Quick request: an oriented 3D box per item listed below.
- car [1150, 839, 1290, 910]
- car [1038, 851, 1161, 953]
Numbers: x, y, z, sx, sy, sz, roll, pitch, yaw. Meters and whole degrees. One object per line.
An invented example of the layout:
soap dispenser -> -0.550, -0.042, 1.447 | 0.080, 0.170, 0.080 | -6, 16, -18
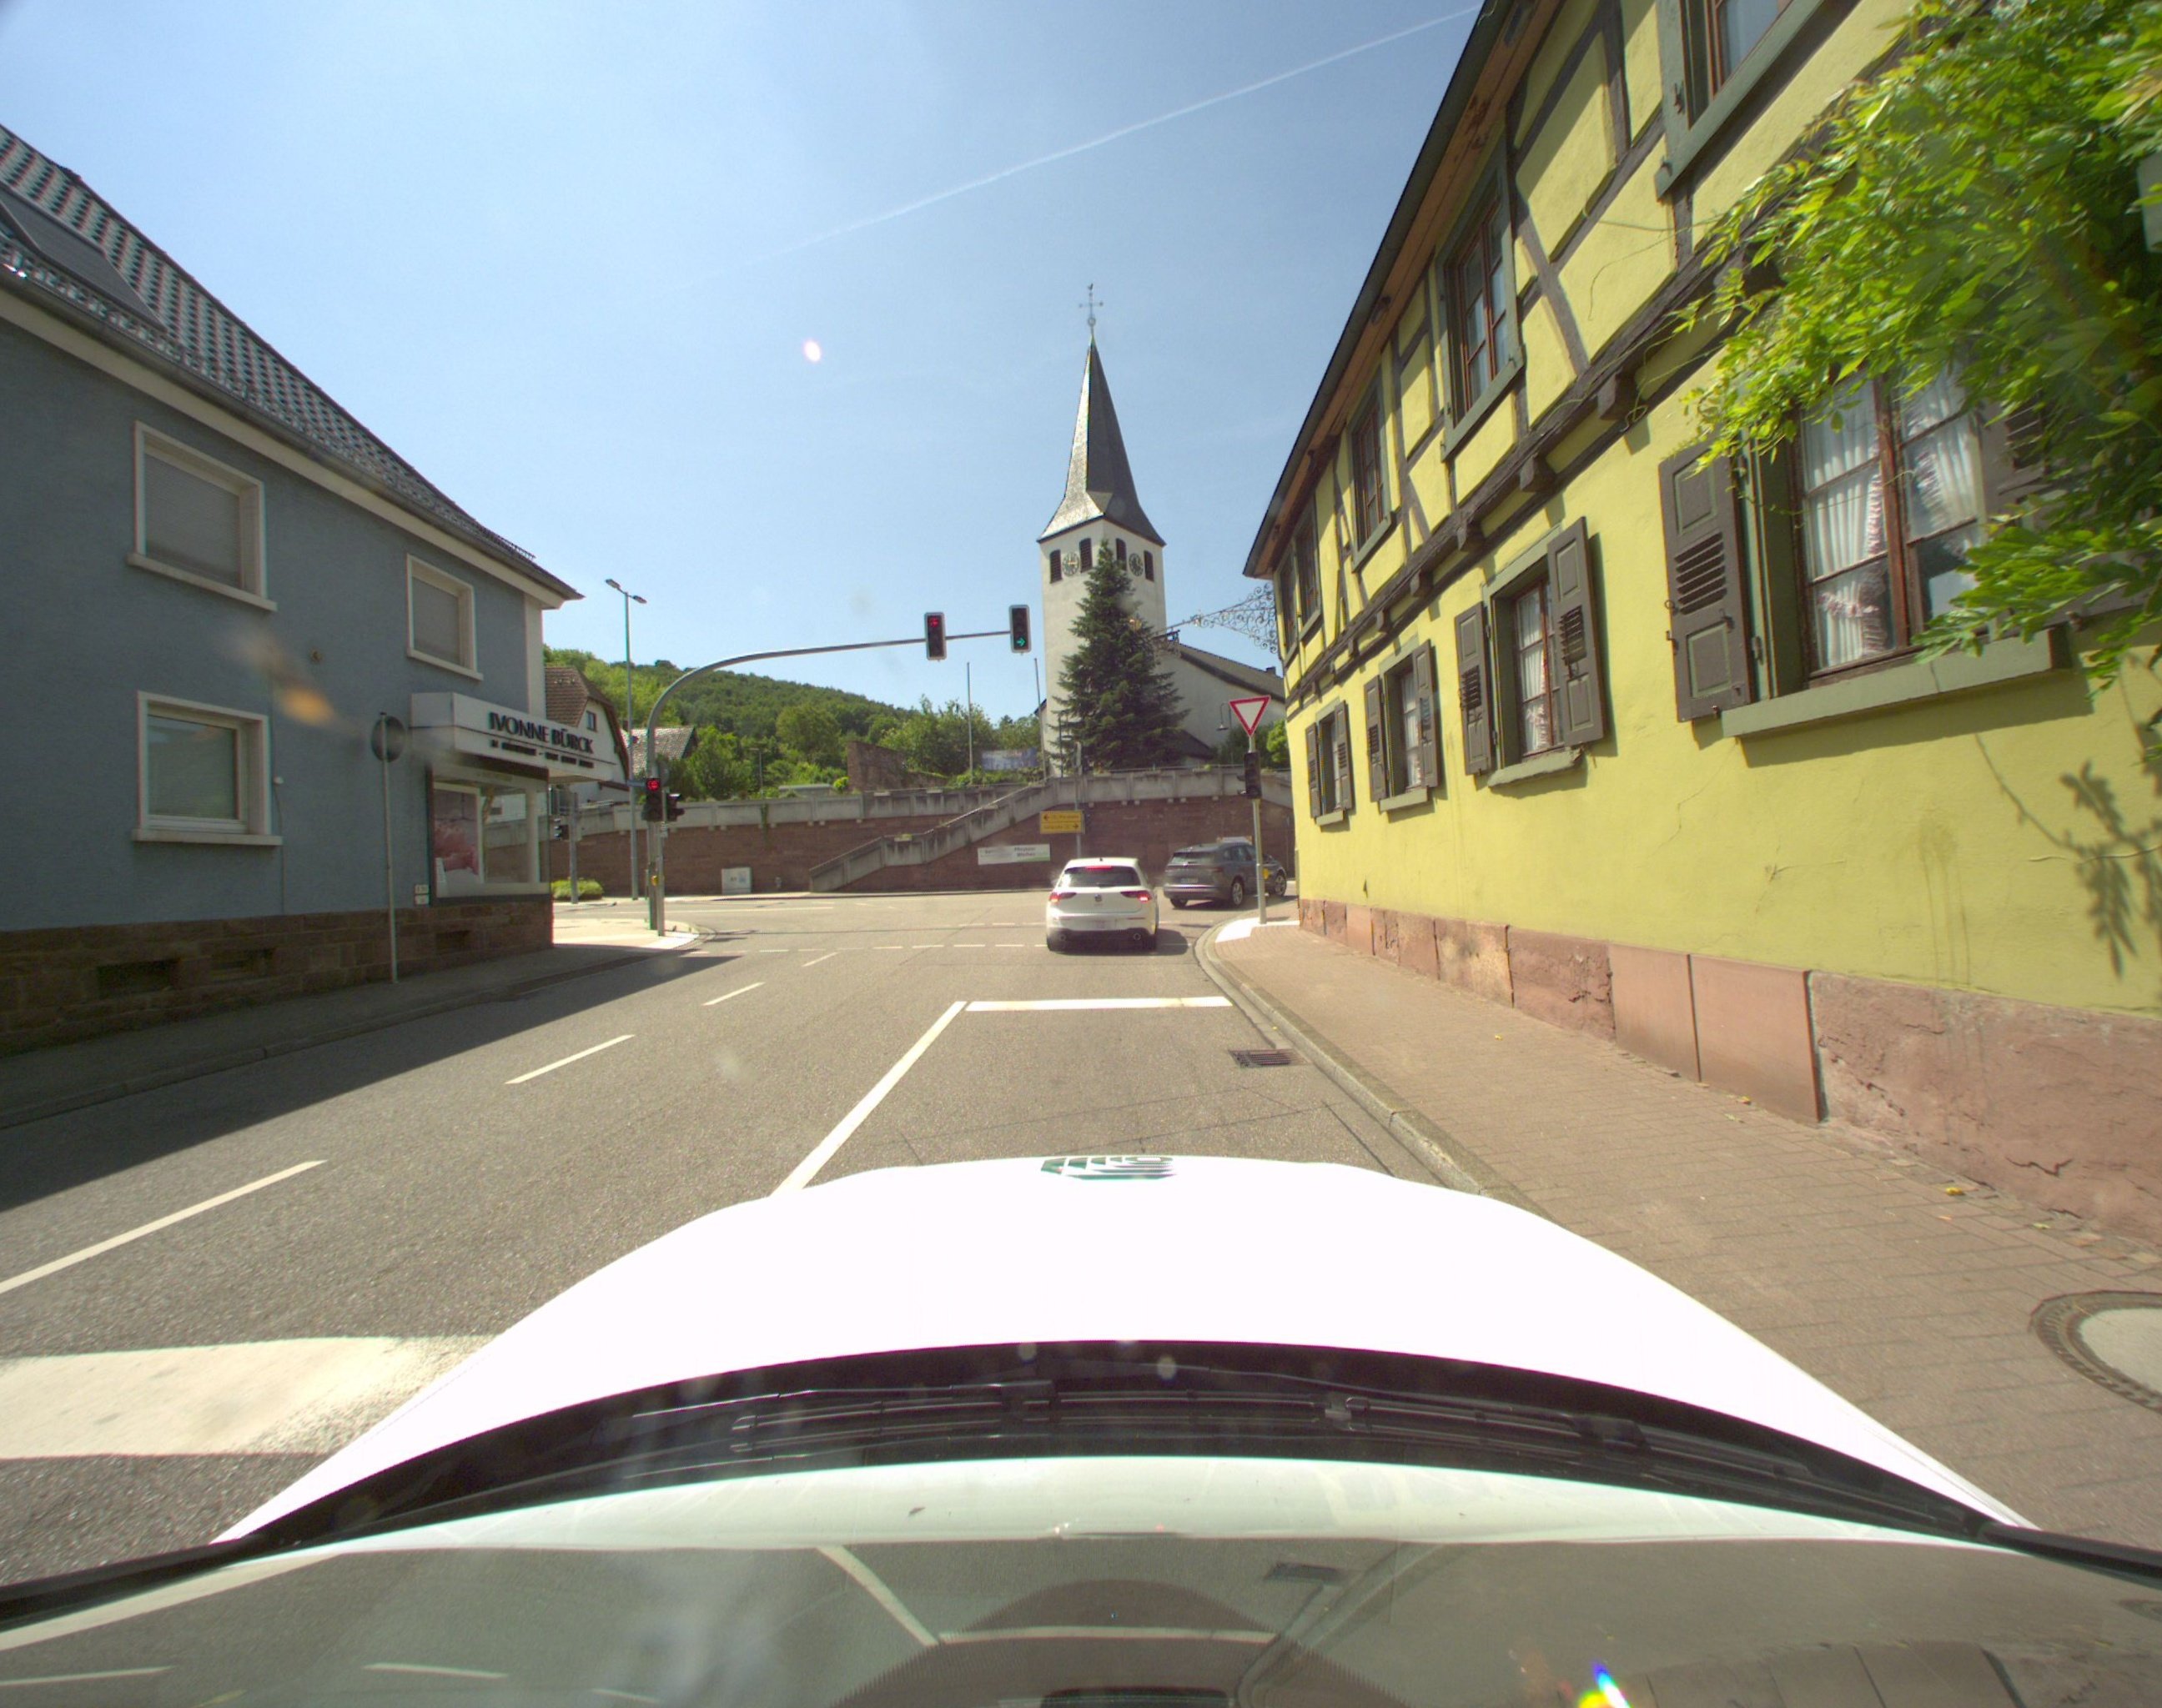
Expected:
car -> 3.822, 0.476, 21.743 | 1.930, 1.582, 4.354 | -2, 2, 35
car -> 0.441, 0.730, 14.144 | 1.774, 1.458, 3.868 | -3, -1, 5
